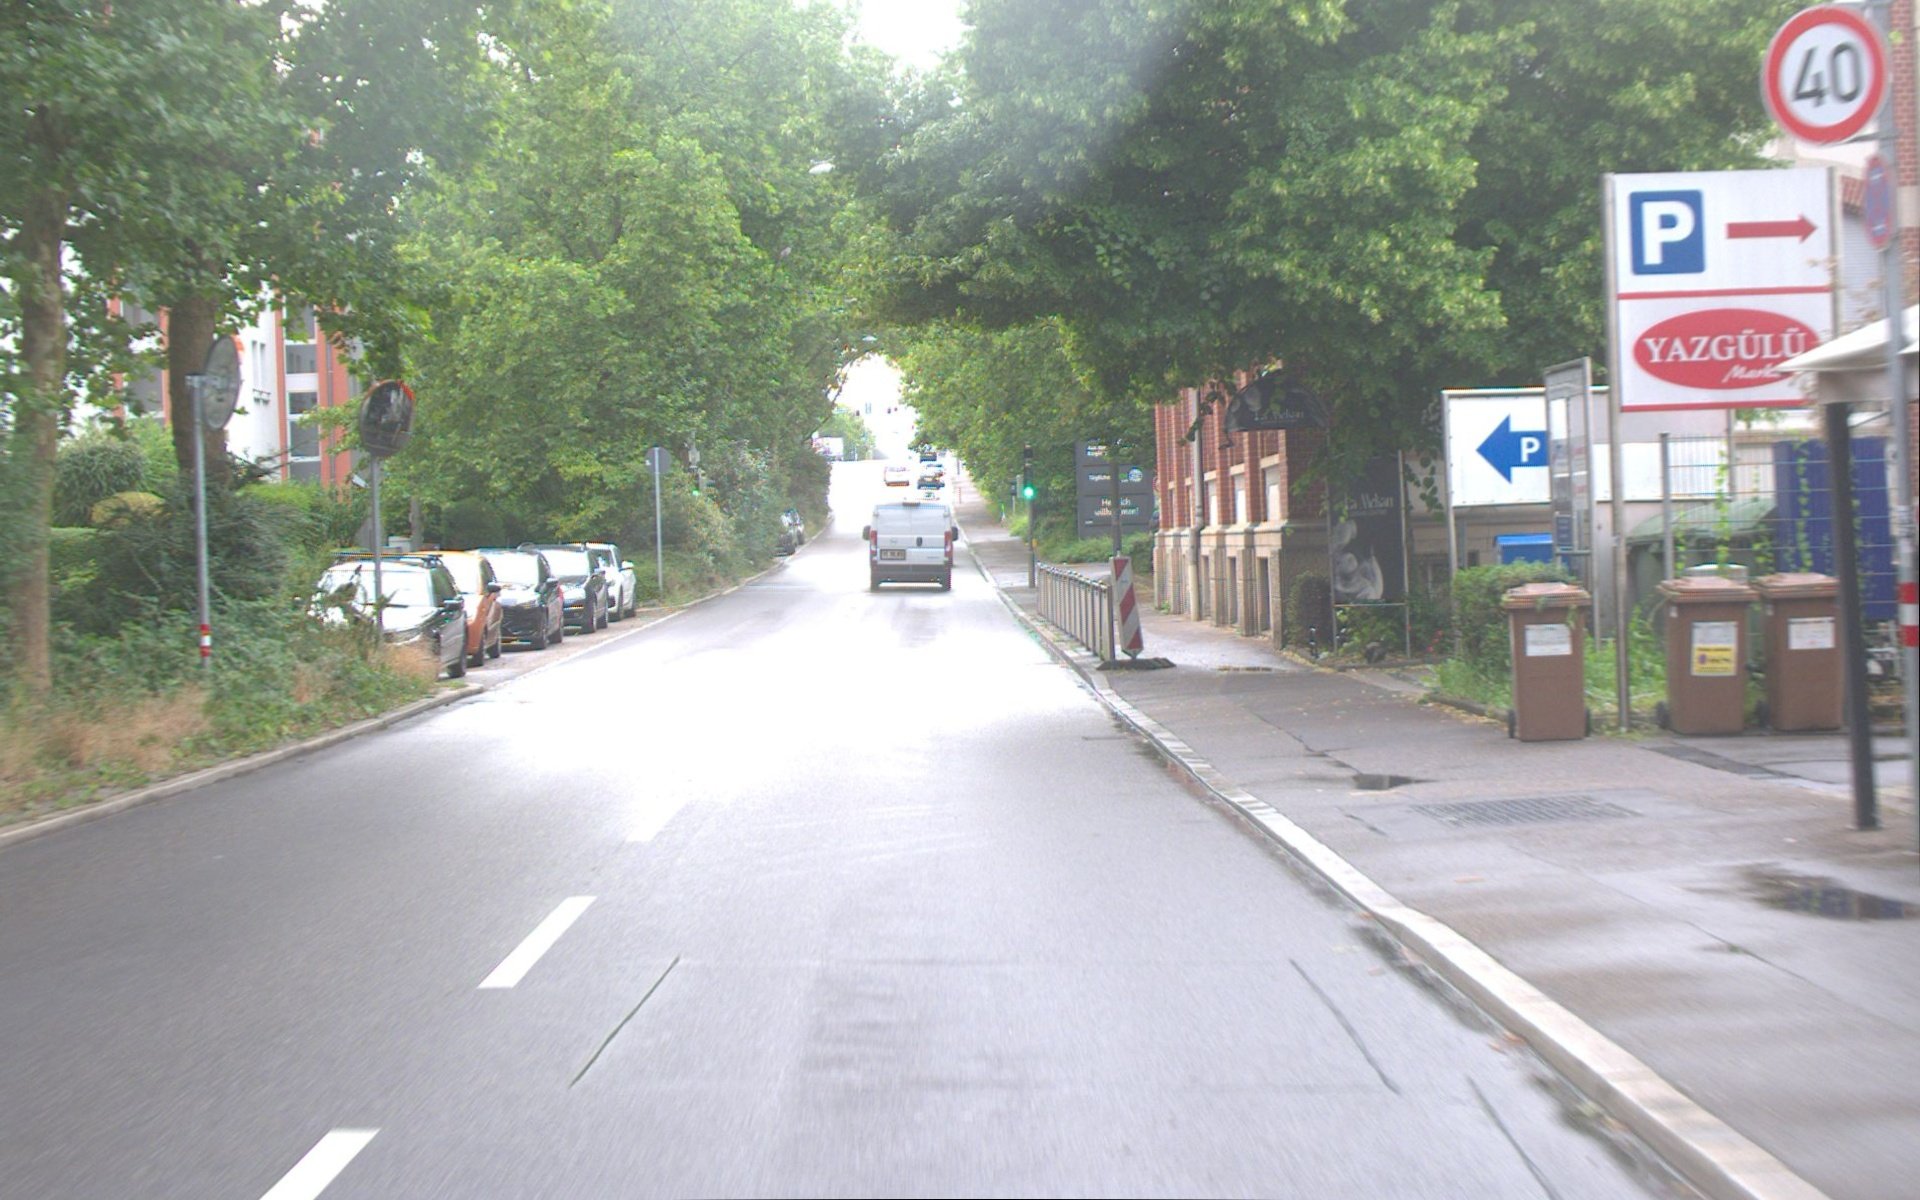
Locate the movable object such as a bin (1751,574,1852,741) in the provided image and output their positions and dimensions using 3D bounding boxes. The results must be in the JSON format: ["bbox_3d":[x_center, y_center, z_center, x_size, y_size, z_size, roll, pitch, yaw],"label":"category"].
[{"bbox_3d":[5.780,0.390,23.632,0.504,1.111,0.618,-2,1,0],"label":"movable object such as a bin"}]

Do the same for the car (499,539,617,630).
[{"bbox_3d":[-6.803,-0.294,58.520,1.716,1.462,4.234,-1,1,-3],"label":"car"}]

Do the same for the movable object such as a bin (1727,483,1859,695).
[{"bbox_3d":[6.112,-0.086,25.250,0.737,1.503,0.625,-2,1,-3],"label":"movable object such as a bin"}]

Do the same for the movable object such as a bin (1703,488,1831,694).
[{"bbox_3d":[6.074,-0.075,25.898,0.737,1.503,0.625,-2,1,-3],"label":"movable object such as a bin"}]

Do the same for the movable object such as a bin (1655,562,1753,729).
[{"bbox_3d":[5.097,0.308,23.557,0.531,1.111,0.561,-2,1,2],"label":"movable object such as a bin"}]

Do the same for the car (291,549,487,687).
[{"bbox_3d":[-6.779,0.167,41.238,1.716,1.504,4.805,-1,1,-2],"label":"car"}]

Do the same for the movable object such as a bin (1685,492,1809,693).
[{"bbox_3d":[6.071,-0.066,26.543,0.737,1.503,0.625,-2,1,-3],"label":"movable object such as a bin"}]

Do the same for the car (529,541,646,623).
[{"bbox_3d":[-7.038,-0.367,65.298,1.717,1.462,4.310,-1,1,0],"label":"car"}]

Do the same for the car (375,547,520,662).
[{"bbox_3d":[-6.973,0.032,47.007,1.555,1.462,3.397,-1,1,-2],"label":"car"}]

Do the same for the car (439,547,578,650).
[{"bbox_3d":[-6.830,-0.052,52.325,1.716,1.462,3.756,-1,1,-2],"label":"car"}]

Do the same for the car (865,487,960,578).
[{"bbox_3d":[-1.172,-1.668,86.603,2.336,2.223,4.000,0,0,0],"label":"car"}]

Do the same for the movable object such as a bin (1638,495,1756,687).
[{"bbox_3d":[5.968,-0.078,27.846,0.737,1.503,0.625,-2,1,-3],"label":"movable object such as a bin"}]

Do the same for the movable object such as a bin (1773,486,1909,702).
[{"bbox_3d":[6.310,-0.048,24.646,0.737,1.503,0.625,-2,1,-3],"label":"movable object such as a bin"}]

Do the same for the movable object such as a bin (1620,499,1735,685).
[{"bbox_3d":[5.941,-0.070,28.482,0.737,1.496,0.625,-2,1,-3],"label":"movable object such as a bin"}]

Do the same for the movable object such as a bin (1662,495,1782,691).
[{"bbox_3d":[6.022,-0.060,27.189,0.737,1.503,0.625,-2,1,-4],"label":"movable object such as a bin"}]

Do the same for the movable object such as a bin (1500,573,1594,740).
[{"bbox_3d":[4.034,0.383,23.651,0.504,1.111,0.618,-2,1,0],"label":"movable object such as a bin"}]
